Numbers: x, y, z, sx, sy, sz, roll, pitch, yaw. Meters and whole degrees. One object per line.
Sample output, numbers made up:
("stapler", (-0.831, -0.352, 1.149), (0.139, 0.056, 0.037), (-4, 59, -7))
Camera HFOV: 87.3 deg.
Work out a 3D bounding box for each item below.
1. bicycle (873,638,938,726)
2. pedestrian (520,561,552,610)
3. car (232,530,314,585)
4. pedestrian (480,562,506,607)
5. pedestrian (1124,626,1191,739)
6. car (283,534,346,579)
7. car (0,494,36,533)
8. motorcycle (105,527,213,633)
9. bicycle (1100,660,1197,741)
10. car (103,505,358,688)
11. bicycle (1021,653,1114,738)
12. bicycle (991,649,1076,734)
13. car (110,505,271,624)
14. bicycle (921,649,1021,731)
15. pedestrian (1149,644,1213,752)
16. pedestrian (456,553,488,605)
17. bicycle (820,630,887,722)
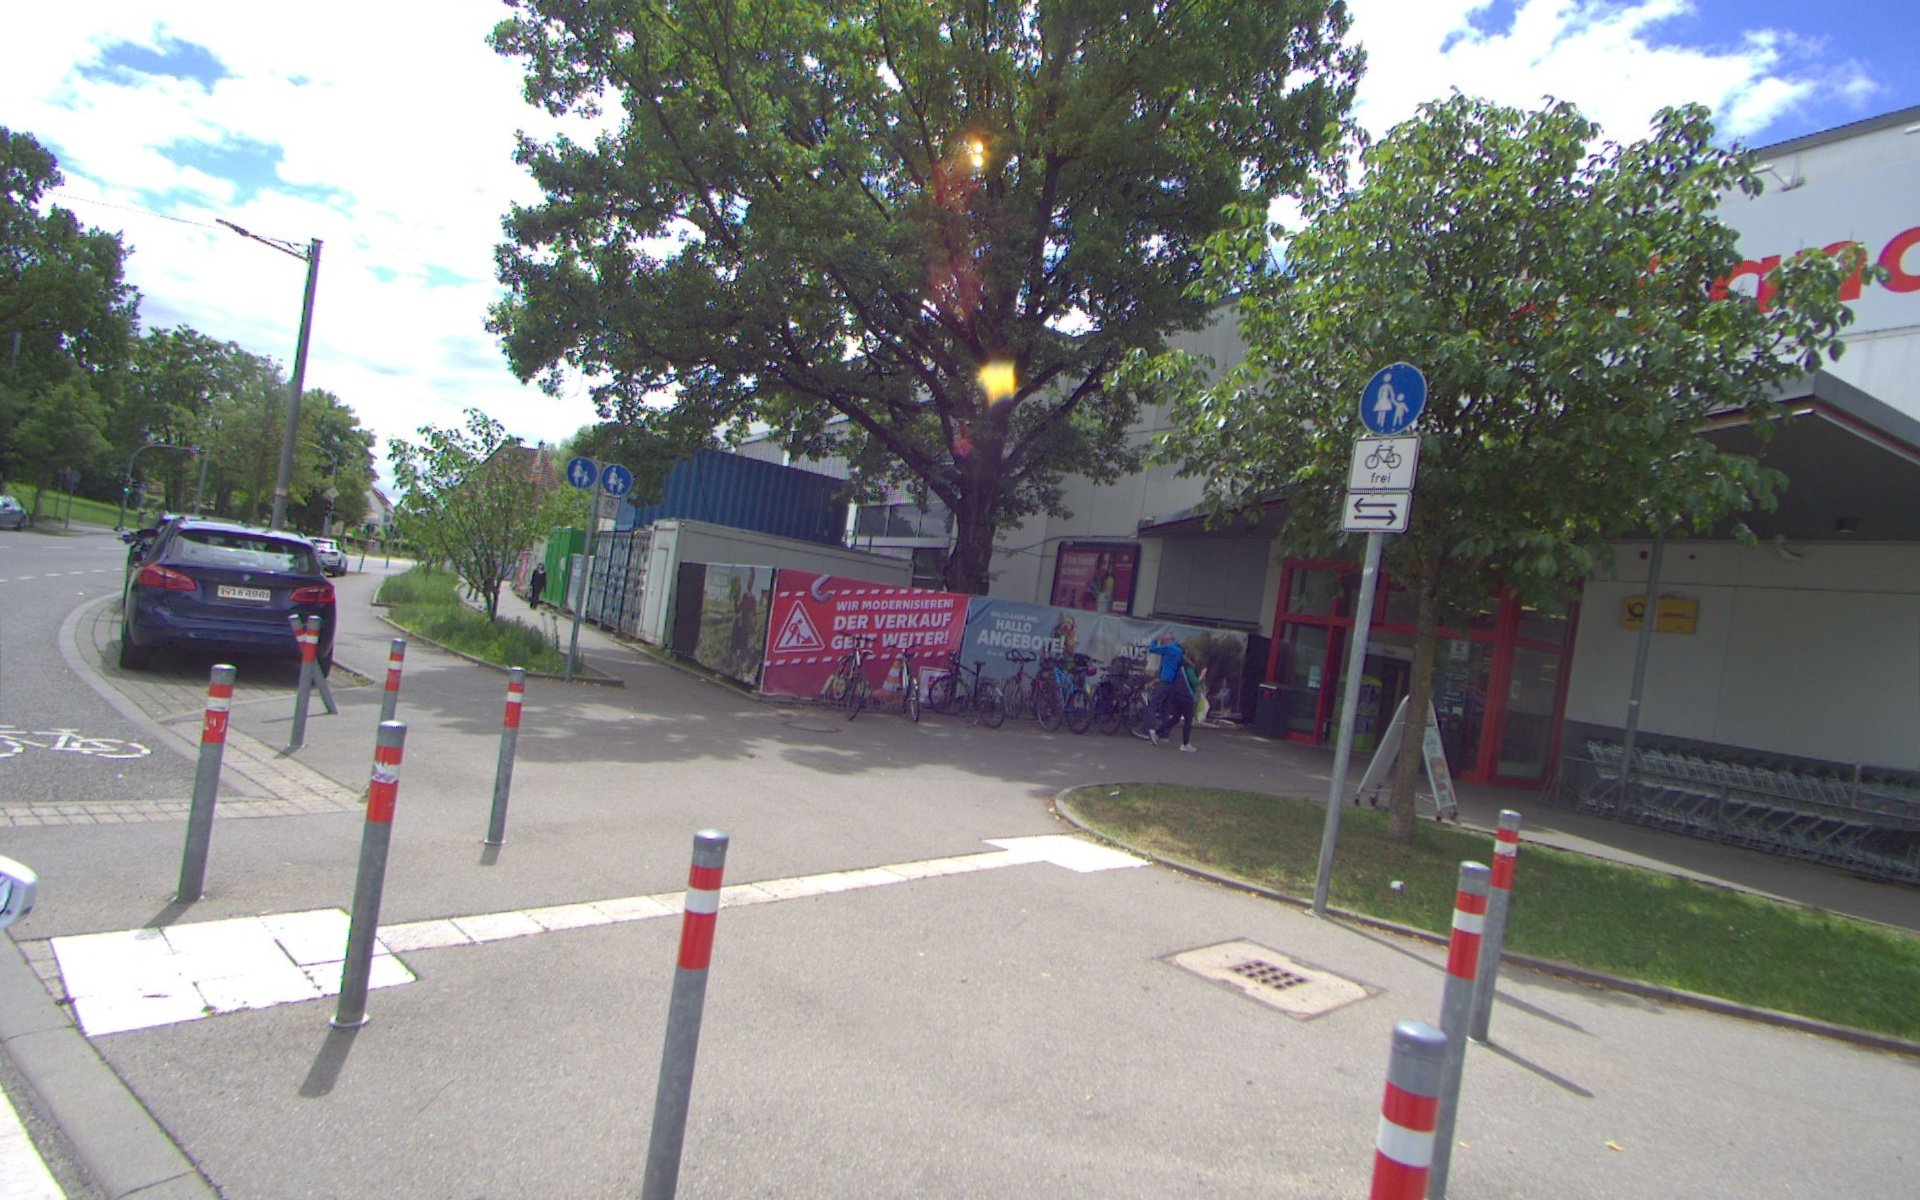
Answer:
("bicycle", (-0.860, 1.229, 15.508), (0.494, 1.168, 1.768), (9, -2, -15))
("pedestrian", (-15.024, -0.518, 35.613), (0.738, 1.636, 0.761), (9, -1, -31))
("car", (-22.801, -1.407, 33.543), (1.750, 1.495, 4.898), (6, -1, -30))
("pedestrian", (-19.048, -0.631, 41.040), (0.647, 1.717, 0.838), (9, -1, -31))
("pedestrian", (3.296, 1.370, 16.813), (0.617, 1.778, 0.743), (6, 0, -28))
("car", (-27.519, -1.854, 43.004), (1.722, 1.636, 4.357), (6, -1, -28))
("car", (-38.784, -3.580, 40.049), (1.683, 1.380, 4.653), (11, -3, -28))
("motorcycle", (-11.608, -0.309, 14.564), (1.066, 1.322, 2.235), (6, 0, -40))
("bicycle", (3.319, 1.761, 17.887), (0.524, 1.168, 1.902), (9, -2, -26))
("car", (-8.508, -0.117, 11.560), (1.909, 1.597, 4.380), (8, -1, -41))
("bicycle", (1.770, 1.564, 16.829), (0.435, 1.168, 1.754), (9, -2, -30))
("bicycle", (1.180, 1.481, 16.517), (0.421, 1.168, 1.650), (9, -2, -29))
("car", (-13.556, -0.670, 17.767), (1.870, 1.641, 4.796), (8, -1, -38))
("bicycle", (0.146, 1.401, 15.967), (0.517, 1.053, 1.784), (8, -1, -36))
("pedestrian", (3.458, 1.523, 15.731), (0.619, 1.585, 0.492), (8, -1, -28))
("pedestrian", (-17.087, -0.741, 35.216), (0.647, 1.716, 0.717), (9, -1, -37))
("bicycle", (-1.597, 1.094, 14.870), (0.445, 1.168, 1.784), (9, -2, -18))
